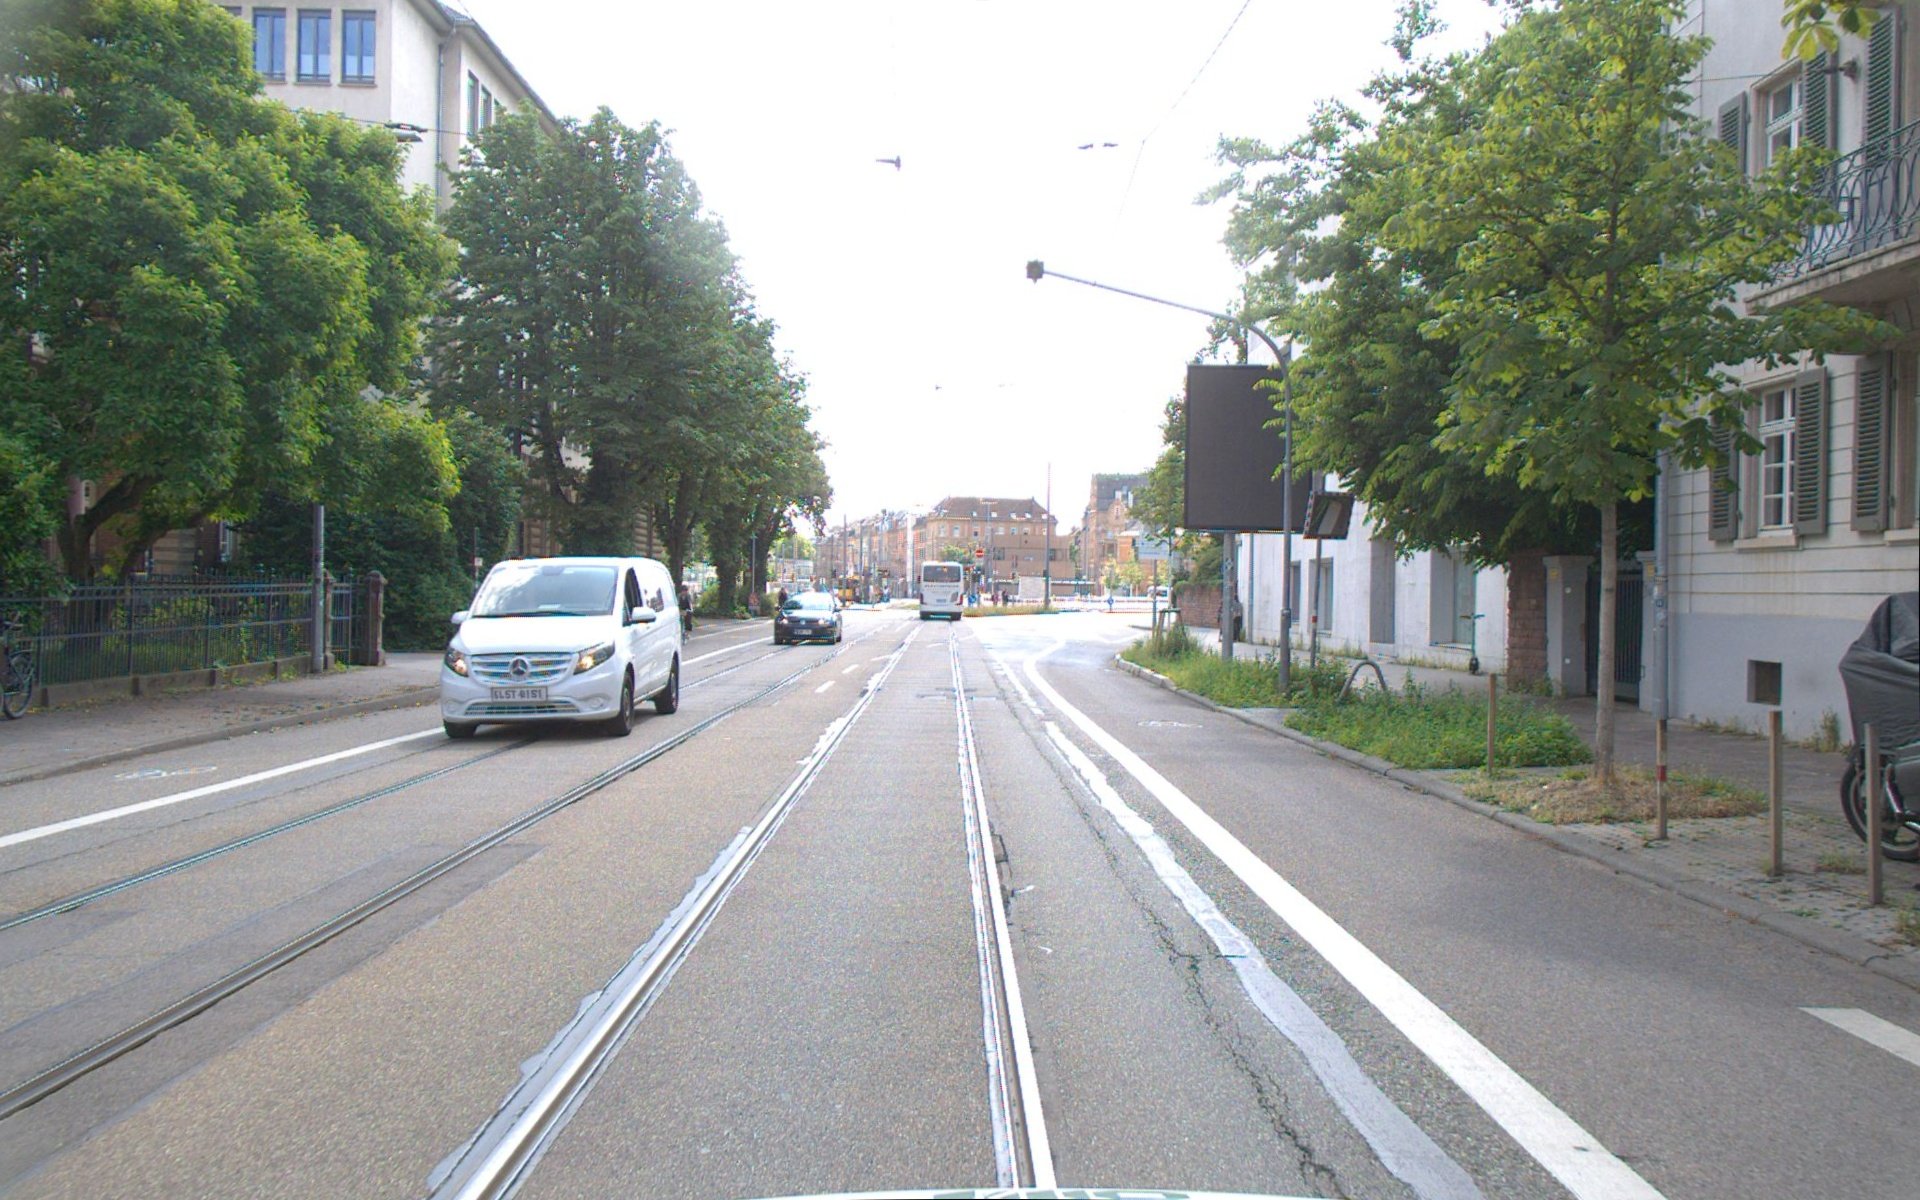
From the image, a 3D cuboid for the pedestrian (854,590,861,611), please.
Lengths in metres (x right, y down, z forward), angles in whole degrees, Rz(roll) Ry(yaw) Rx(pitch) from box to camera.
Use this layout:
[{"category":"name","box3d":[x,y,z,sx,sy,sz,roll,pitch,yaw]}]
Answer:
[{"category":"pedestrian","box3d":[-9.297,0.048,149.734,0.598,1.918,0.794,1,0,0]}]

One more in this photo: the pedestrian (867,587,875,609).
[{"category":"pedestrian","box3d":[-7.815,-0.193,145.256,0.598,1.918,0.794,1,0,0]}]

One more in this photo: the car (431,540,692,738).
[{"category":"car","box3d":[-4.382,0.372,19.088,1.859,1.940,5.382,1,0,-2]}]

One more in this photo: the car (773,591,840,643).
[{"category":"car","box3d":[-4.431,0.466,48.110,1.654,1.426,3.930,0,0,-1]}]

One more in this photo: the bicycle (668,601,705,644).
[{"category":"bicycle","box3d":[-7.733,0.622,46.845,0.590,1.116,2.023,-4,1,2]}]

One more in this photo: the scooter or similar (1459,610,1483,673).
[{"category":"scooter or similar","box3d":[9.943,0.798,32.188,0.315,1.202,1.149,1,0,12]}]

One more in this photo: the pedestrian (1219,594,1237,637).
[{"category":"pedestrian","box3d":[10.187,0.577,62.903,0.510,1.608,0.547,-1,1,-10]}]

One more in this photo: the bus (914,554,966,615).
[{"category":"bus","box3d":[-1.277,-0.877,100.229,2.859,3.386,12.202,2,0,-1]}]

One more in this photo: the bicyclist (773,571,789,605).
[{"category":"bicyclist","box3d":[-8.160,-0.556,75.308,0.677,1.546,0.867,0,0,-4]}]

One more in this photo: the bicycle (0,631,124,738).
[{"category":"bicycle","box3d":[-10.128,0.867,17.400,1.119,0.924,2.988,4,0,-1]}]

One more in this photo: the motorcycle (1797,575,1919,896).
[{"category":"motorcycle","box3d":[5.304,0.668,8.681,0.959,1.568,2.442,1,0,11]}]

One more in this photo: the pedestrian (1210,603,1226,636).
[{"category":"pedestrian","box3d":[9.696,0.743,62.230,0.417,1.221,0.401,-2,2,-33]}]

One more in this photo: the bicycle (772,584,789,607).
[{"category":"bicycle","box3d":[-8.157,-0.207,75.343,0.685,1.035,1.818,0,0,-4]}]

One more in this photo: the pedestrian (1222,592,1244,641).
[{"category":"pedestrian","box3d":[10.123,0.609,61.386,0.670,1.754,0.747,-1,1,1]}]

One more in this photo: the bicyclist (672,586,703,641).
[{"category":"bicyclist","box3d":[-7.743,0.375,46.956,0.587,1.518,0.882,-4,0,2]}]
